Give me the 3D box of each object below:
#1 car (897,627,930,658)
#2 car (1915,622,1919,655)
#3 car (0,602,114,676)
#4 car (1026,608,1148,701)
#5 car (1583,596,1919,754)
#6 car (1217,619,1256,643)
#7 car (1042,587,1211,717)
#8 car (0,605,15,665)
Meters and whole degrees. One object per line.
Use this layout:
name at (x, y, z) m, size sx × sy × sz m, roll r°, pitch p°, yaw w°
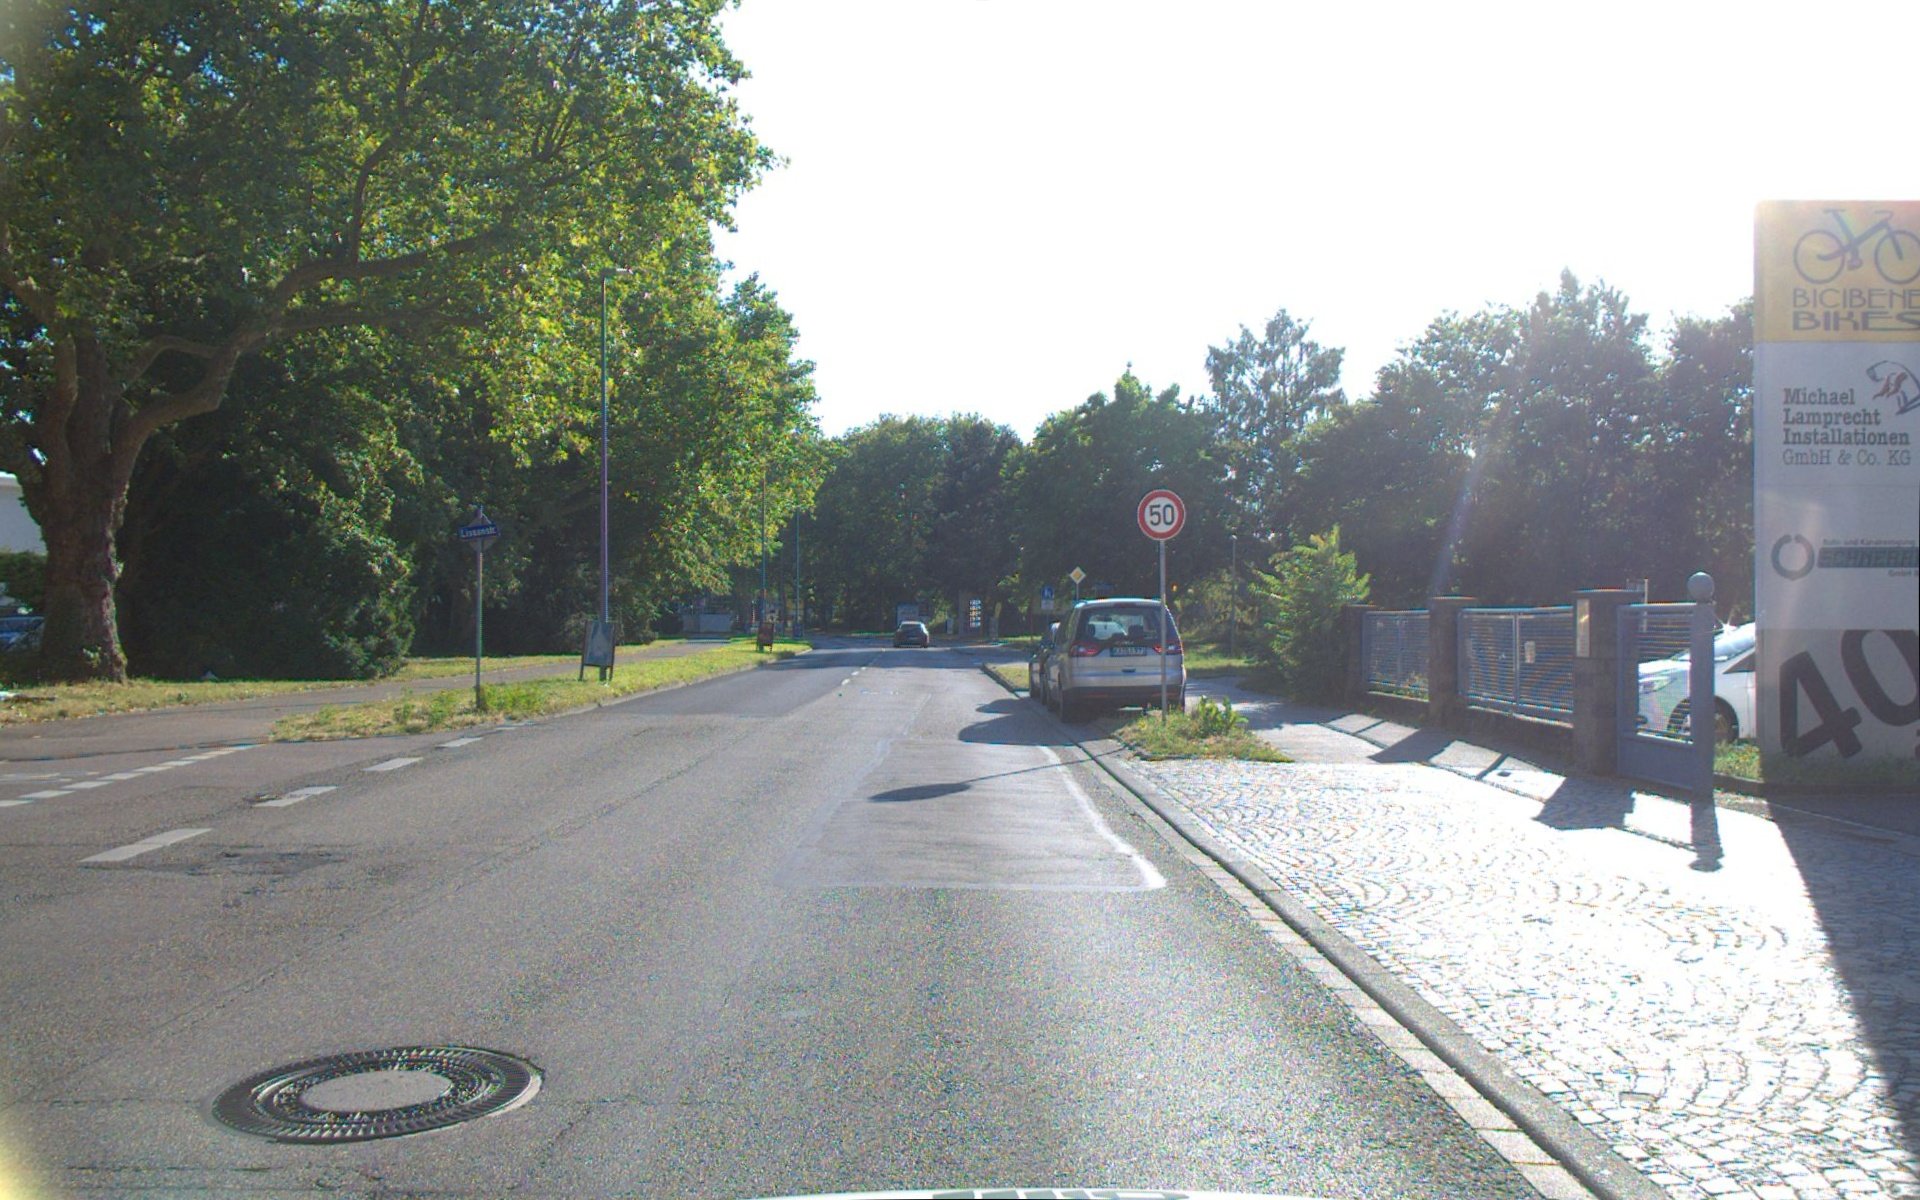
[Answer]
car at (-2.542, 2.317, 91.417) m, size 1.802 × 1.633 × 3.861 m, roll -1°, pitch 0°, yaw -1°
car at (51.251, 2.053, 86.946) m, size 1.665 × 1.718 × 3.858 m, roll 2°, pitch 0°, yaw 29°
car at (-22.544, 0.907, 39.352) m, size 3.907 × 1.713 × 1.726 m, roll 0°, pitch -1°, yaw -3°
car at (2.263, 0.958, 30.574) m, size 1.746 × 1.542 × 4.687 m, roll -1°, pitch -1°, yaw -2°
car at (8.948, 0.769, 17.655) m, size 3.905 × 1.587 × 1.841 m, roll 0°, pitch -1°, yaw 0°
car at (22.060, 2.454, 132.281) m, size 1.778 × 1.758 × 4.390 m, roll 3°, pitch -1°, yaw -8°
car at (2.420, 0.744, 25.278) m, size 1.953 × 1.790 × 4.915 m, roll 0°, pitch -1°, yaw -2°
car at (-29.417, 1.054, 47.835) m, size 1.855 × 1.771 × 4.173 m, roll -1°, pitch -1°, yaw -2°
